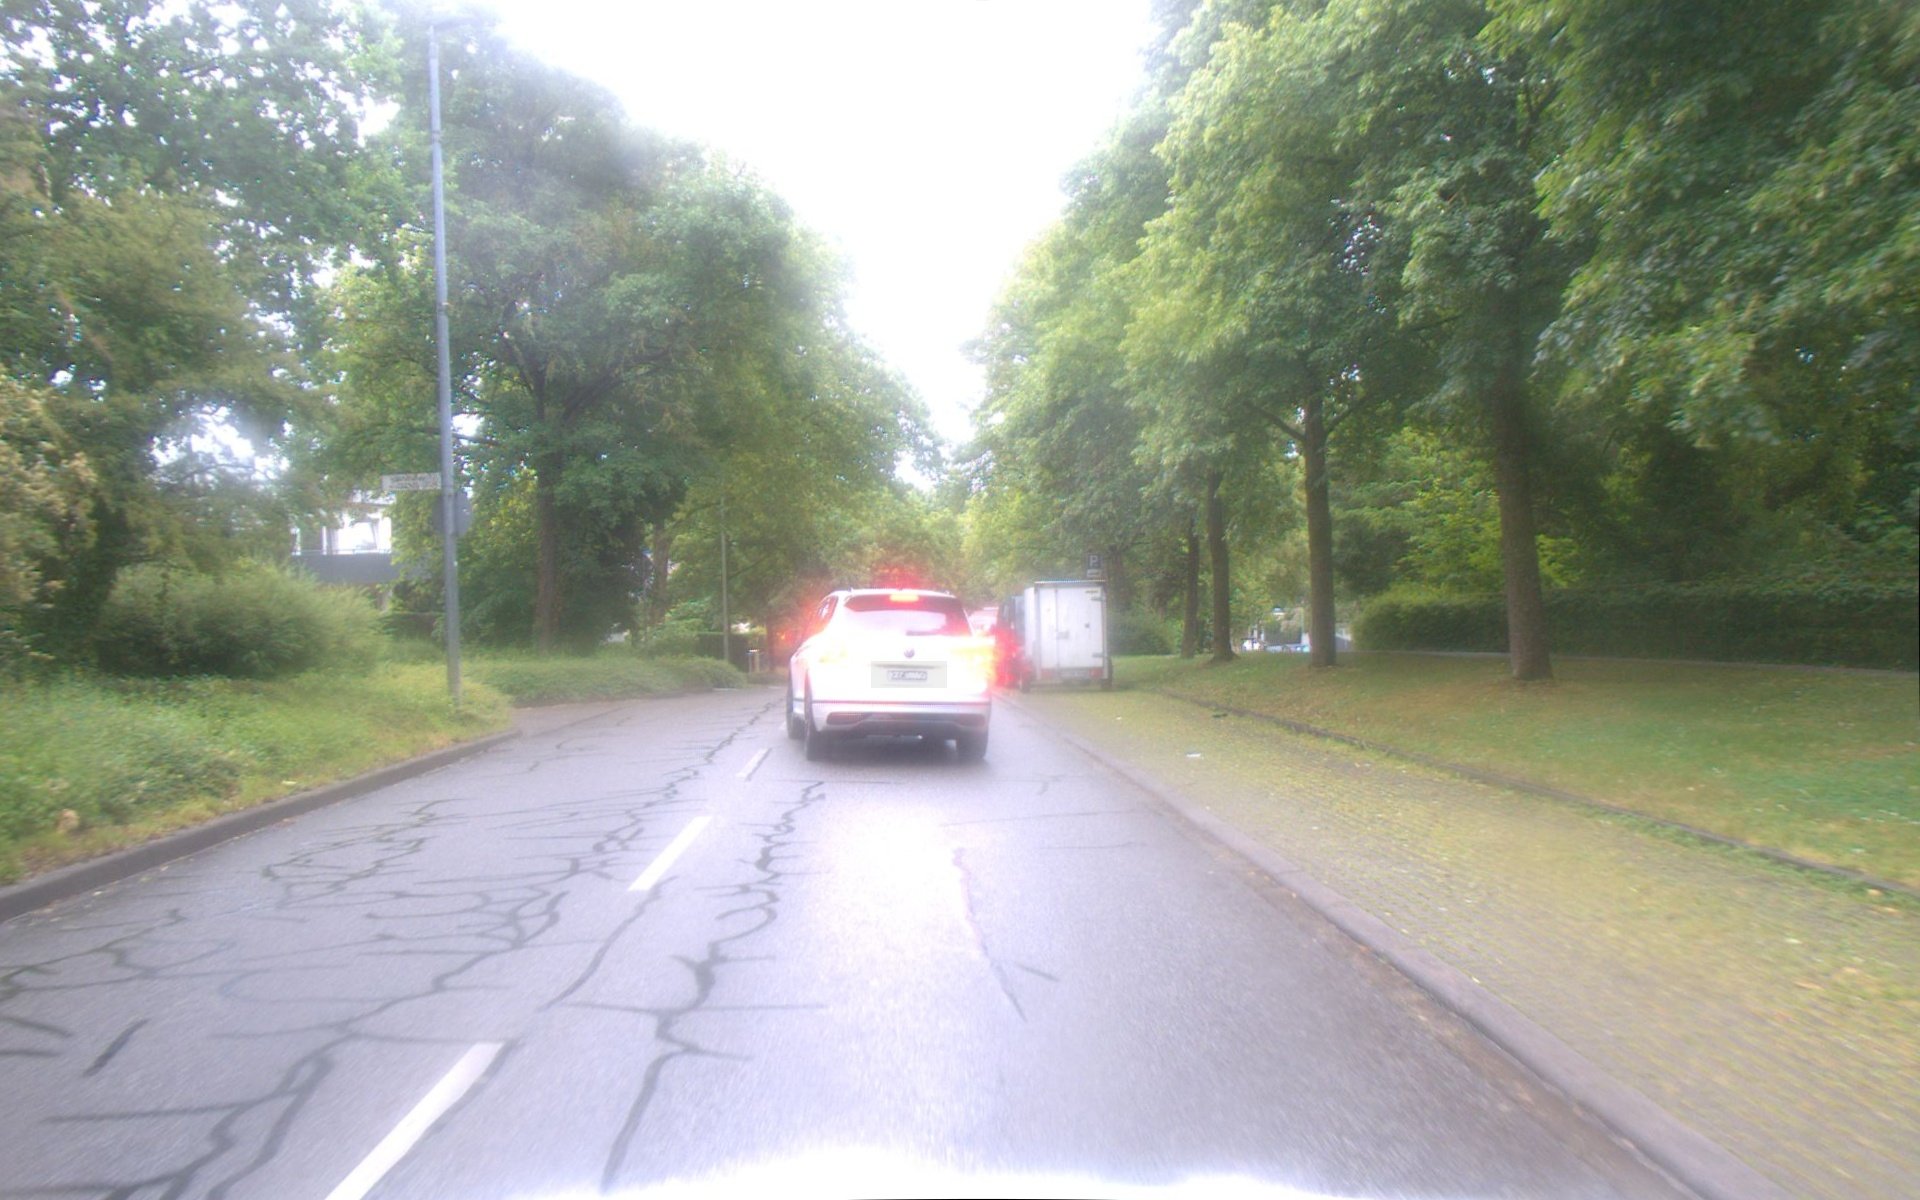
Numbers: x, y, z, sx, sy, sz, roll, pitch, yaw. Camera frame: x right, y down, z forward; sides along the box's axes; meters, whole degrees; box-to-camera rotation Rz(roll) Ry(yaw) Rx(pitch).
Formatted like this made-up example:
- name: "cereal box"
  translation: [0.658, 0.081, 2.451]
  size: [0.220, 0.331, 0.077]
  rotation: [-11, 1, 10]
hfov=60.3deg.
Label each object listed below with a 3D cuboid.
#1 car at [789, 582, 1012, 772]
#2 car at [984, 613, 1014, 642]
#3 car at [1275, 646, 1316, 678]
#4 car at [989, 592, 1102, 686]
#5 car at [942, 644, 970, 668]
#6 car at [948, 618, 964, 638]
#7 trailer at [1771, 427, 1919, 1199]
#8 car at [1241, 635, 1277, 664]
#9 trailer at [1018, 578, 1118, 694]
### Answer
- name: "car"
  translation: [-0.759, 0.731, 17.436]
  size: [1.870, 1.715, 4.192]
  rotation: [-1, -1, -9]
- name: "car"
  translation: [2.903, 2.073, 124.146]
  size: [1.954, 2.049, 3.996]
  rotation: [0, -2, -4]
- name: "car"
  translation: [24.167, 4.480, 119.191]
  size: [1.953, 2.049, 3.999]
  rotation: [-2, 0, -2]
- name: "car"
  translation: [1.849, 0.903, 37.513]
  size: [1.954, 1.943, 5.504]
  rotation: [-1, -2, -3]
- name: "car"
  translation: [-0.321, 4.273, 125.672]
  size: [1.819, 1.721, 3.996]
  rotation: [-1, -2, -4]
- name: "car"
  translation: [-0.513, 3.431, 202.723]
  size: [1.953, 2.048, 4.001]
  rotation: [-1, 3, -1]
- name: "trailer"
  translation: [3.197, 0.532, 0.996]
  size: [2.400, 1.844, 5.890]
  rotation: [-1, 0, -1]
- name: "car"
  translation: [23.822, 3.910, 131.786]
  size: [1.953, 2.049, 3.999]
  rotation: [-2, 0, -2]
- name: "trailer"
  translation: [2.071, 0.712, 32.663]
  size: [1.499, 2.112, 3.998]
  rotation: [-2, -1, -2]
